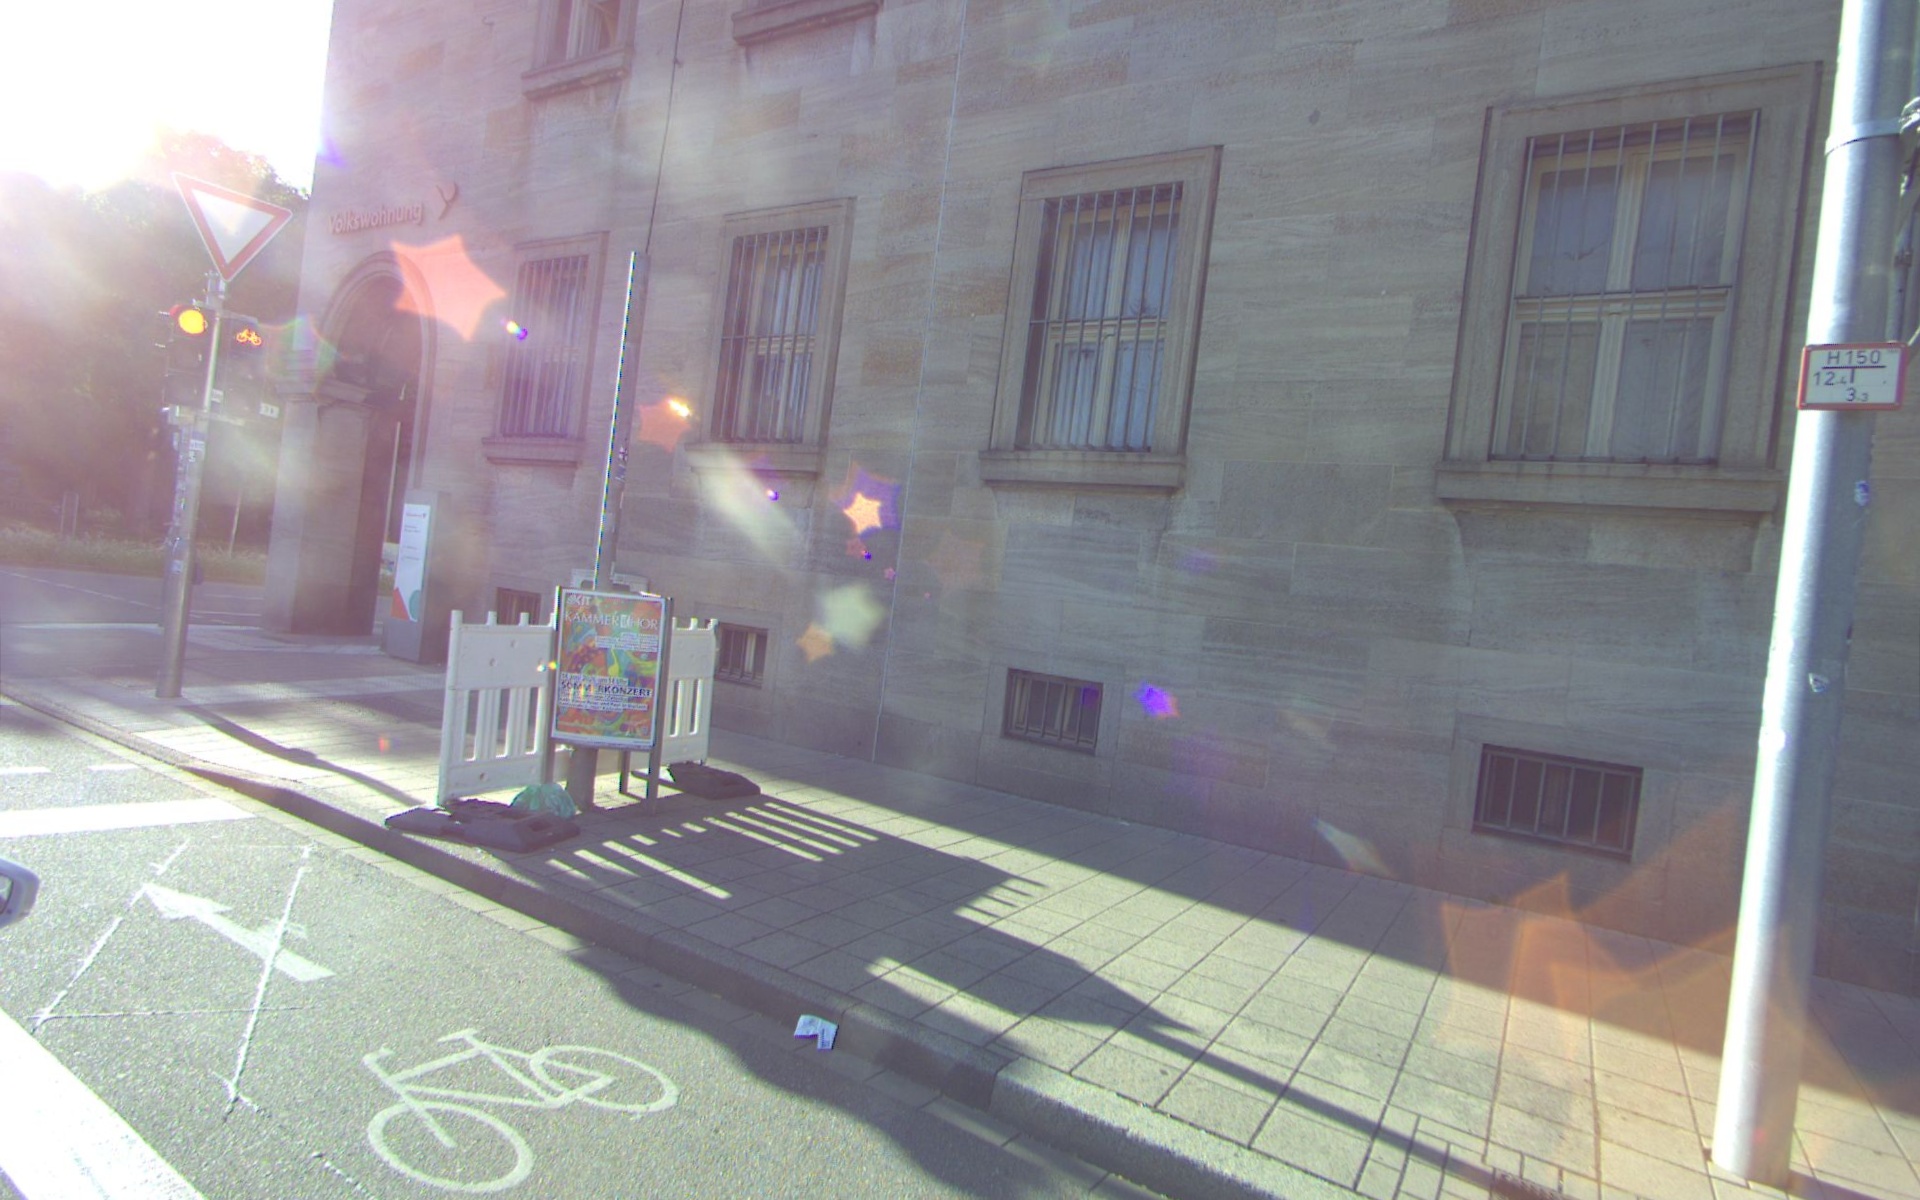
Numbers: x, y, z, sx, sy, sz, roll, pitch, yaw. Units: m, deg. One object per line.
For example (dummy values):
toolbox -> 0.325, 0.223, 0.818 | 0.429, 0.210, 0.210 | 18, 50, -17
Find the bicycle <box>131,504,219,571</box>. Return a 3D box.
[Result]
bicycle -> -23.934, -1.896, 30.702 | 0.588, 1.756, 1.898 | 7, 0, 35

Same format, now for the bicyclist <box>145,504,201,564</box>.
bicyclist -> -23.966, -1.992, 30.641 | 0.588, 1.661, 1.075 | 7, 0, 35

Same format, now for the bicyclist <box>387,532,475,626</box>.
bicyclist -> -10.239, -0.393, 19.481 | 0.755, 1.614, 1.123 | 10, 1, 39

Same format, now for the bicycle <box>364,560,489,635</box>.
bicycle -> -10.299, -0.023, 19.471 | 0.755, 1.172, 1.873 | 10, 1, 38
